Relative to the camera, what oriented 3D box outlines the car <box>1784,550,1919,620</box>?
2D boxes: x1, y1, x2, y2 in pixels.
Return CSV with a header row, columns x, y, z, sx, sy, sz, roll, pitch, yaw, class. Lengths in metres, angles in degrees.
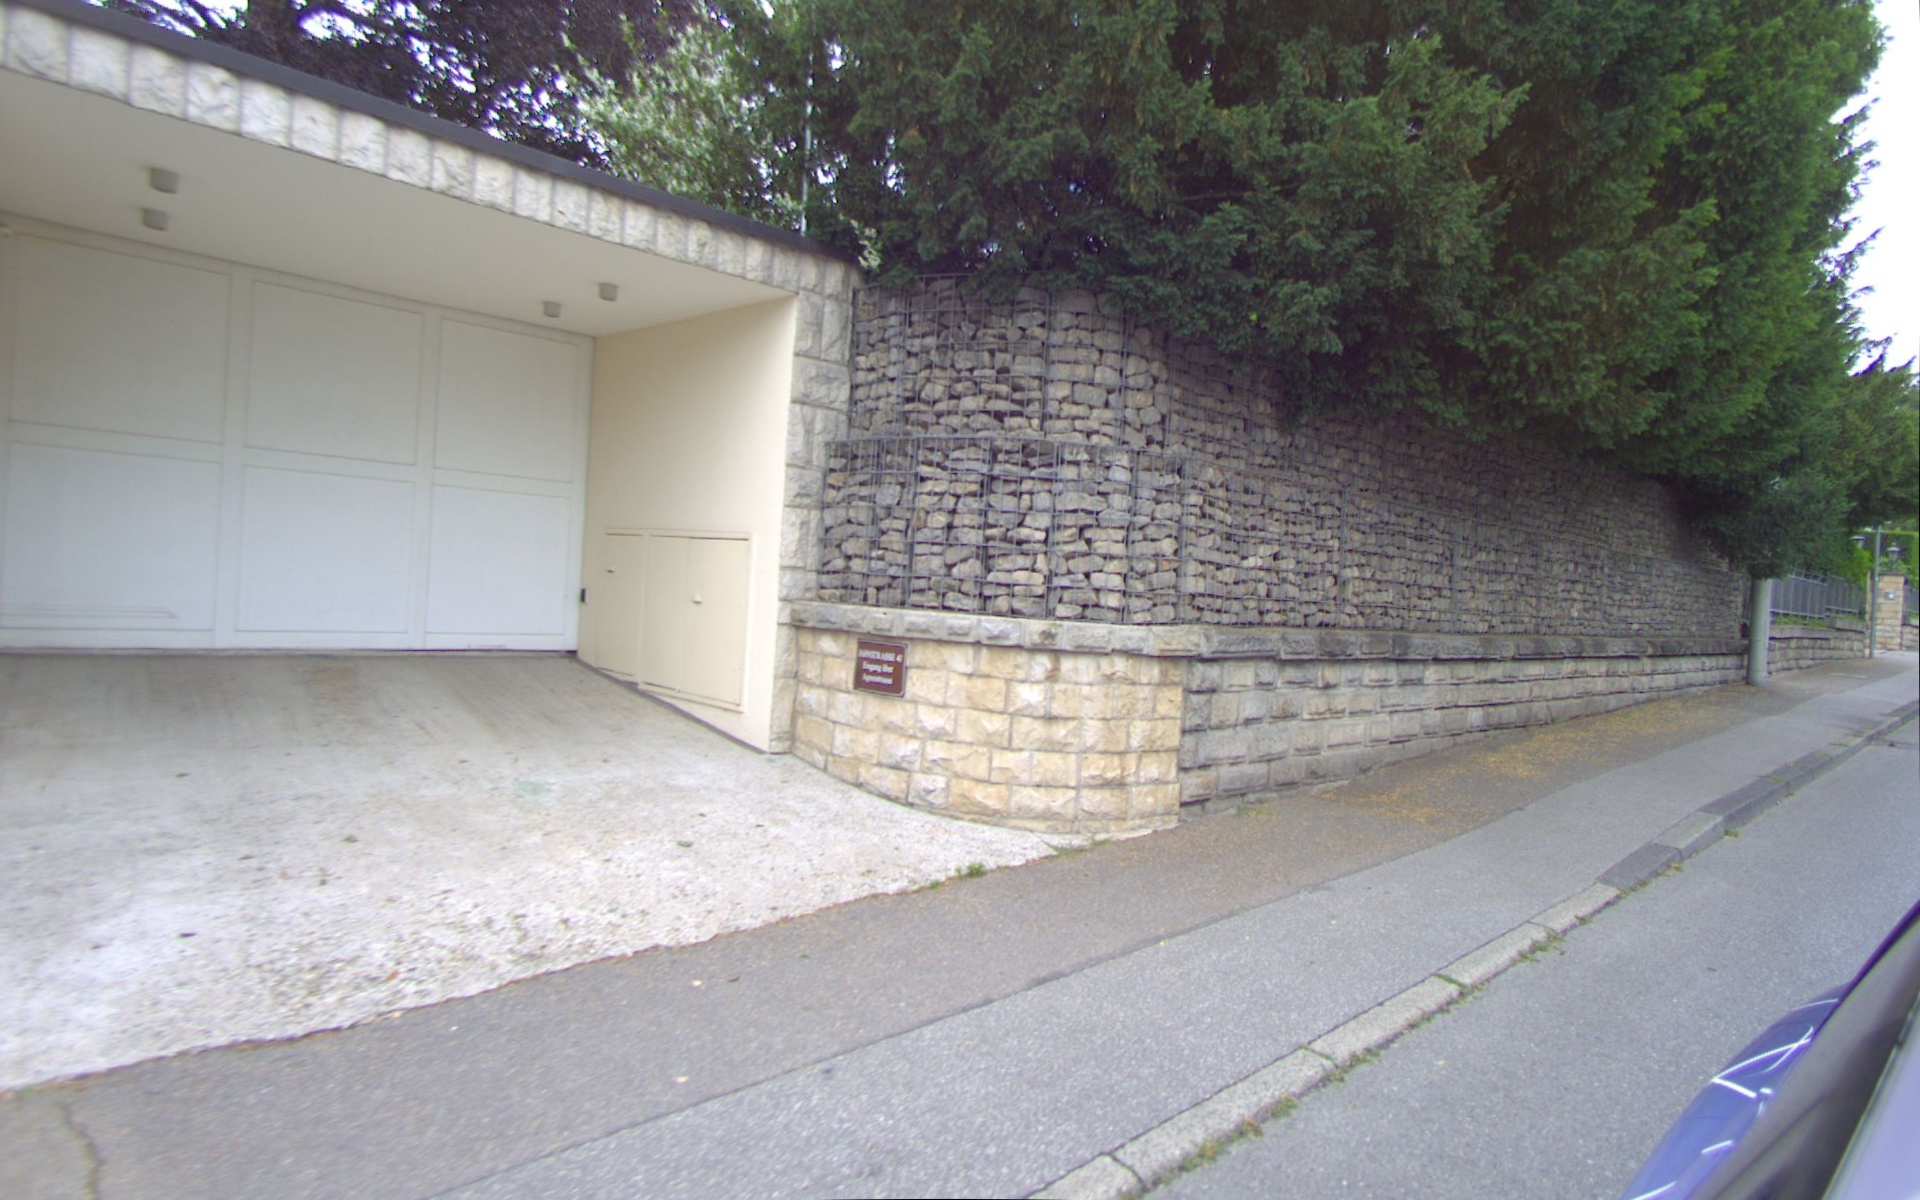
x,y,z,sx,sy,sz,roll,pitch,yaw,class
29.843,-0.487,33.344,1.783,1.628,3.755,0,12,-42,car
